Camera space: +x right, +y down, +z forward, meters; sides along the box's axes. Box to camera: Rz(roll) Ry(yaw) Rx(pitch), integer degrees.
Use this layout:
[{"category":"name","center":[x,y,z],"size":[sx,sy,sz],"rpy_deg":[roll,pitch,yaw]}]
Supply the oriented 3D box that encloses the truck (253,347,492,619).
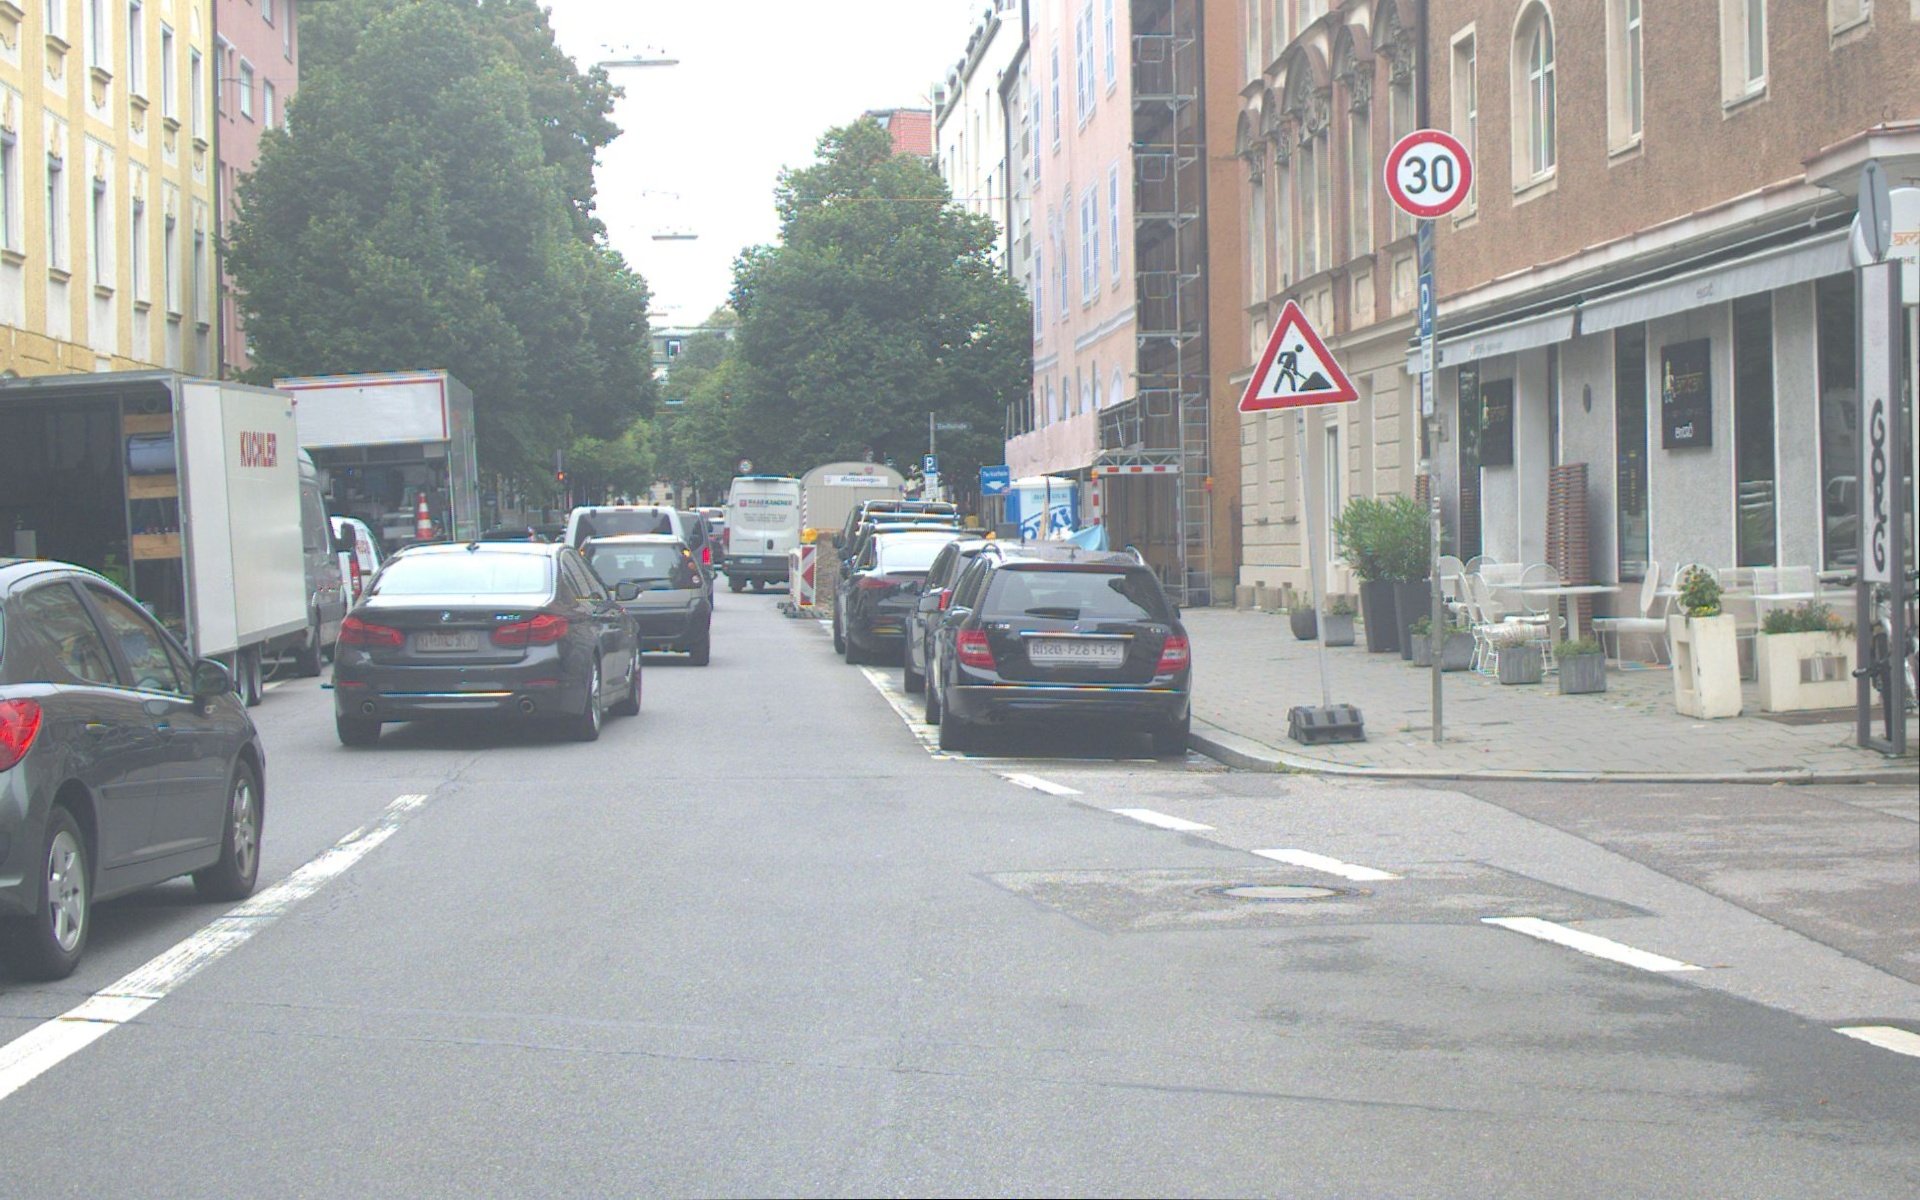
[{"category":"truck","center":[-8.998,-1.777,53.394],"size":[3.012,3.938,6.997],"rpy_deg":[0,1,-5]}]

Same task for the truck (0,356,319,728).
[{"category":"truck","center":[-7.533,-0.573,30.253],"size":[2.773,2.863,7.203],"rpy_deg":[-1,2,-3]}]

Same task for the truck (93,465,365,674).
[{"category":"truck","center":[-8.041,-0.372,38.280],"size":[2.286,2.164,4.807],"rpy_deg":[0,1,-4]}]

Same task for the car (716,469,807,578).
[{"category":"car","center":[-4.611,-1.789,80.421],"size":[1.939,2.472,4.783],"rpy_deg":[0,1,-1]}]

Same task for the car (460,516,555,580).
[{"category":"car","center":[-10.507,-1.228,80.032],"size":[1.939,1.443,3.867],"rpy_deg":[0,1,-4]}]

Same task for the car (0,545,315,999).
[{"category":"car","center":[-3.822,0.538,13.218],"size":[1.759,1.456,4.074],"rpy_deg":[-1,1,2]}]

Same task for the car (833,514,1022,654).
[{"category":"car","center":[-0.431,-0.226,39.748],"size":[1.844,1.424,4.307],"rpy_deg":[2,2,-4]}]

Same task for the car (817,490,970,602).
[{"category":"car","center":[-0.962,-0.783,47.469],"size":[1.990,1.424,4.141],"rpy_deg":[-1,2,-2]}]

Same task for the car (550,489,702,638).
[{"category":"car","center":[-4.882,-0.587,50.774],"size":[1.990,2.068,4.141],"rpy_deg":[-1,2,-2]}]

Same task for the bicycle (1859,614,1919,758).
[{"category":"bicycle","center":[5.800,0.503,20.595],"size":[0.456,0.802,1.326],"rpy_deg":[0,1,-1]}]

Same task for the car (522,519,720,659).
[{"category":"car","center":[-3.789,-0.170,39.033],"size":[1.990,1.424,4.141],"rpy_deg":[-1,2,-2]}]

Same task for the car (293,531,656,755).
[{"category":"car","center":[-3.553,0.248,26.078],"size":[1.990,1.424,4.906],"rpy_deg":[-1,2,1]}]

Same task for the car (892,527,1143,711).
[{"category":"car","center":[0.447,0.122,31.085],"size":[1.844,1.424,4.141],"rpy_deg":[2,2,-4]}]

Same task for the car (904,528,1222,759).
[{"category":"car","center":[0.658,0.253,25.181],"size":[1.844,1.424,4.184],"rpy_deg":[2,2,-4]}]

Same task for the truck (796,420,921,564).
[{"category":"truck","center":[-2.217,-2.278,73.553],"size":[2.491,2.963,5.328],"rpy_deg":[0,1,-4]}]

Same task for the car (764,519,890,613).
[{"category":"car","center":[-2.215,-0.587,57.096],"size":[1.990,1.424,4.141],"rpy_deg":[-1,2,-2]}]

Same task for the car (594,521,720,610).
[{"category":"car","center":[-5.253,-0.628,60.121],"size":[1.990,1.424,4.141],"rpy_deg":[-1,2,-2]}]

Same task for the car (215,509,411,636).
[{"category":"car","center":[-8.555,-0.394,45.788],"size":[1.990,1.605,4.141],"rpy_deg":[0,1,-2]}]
